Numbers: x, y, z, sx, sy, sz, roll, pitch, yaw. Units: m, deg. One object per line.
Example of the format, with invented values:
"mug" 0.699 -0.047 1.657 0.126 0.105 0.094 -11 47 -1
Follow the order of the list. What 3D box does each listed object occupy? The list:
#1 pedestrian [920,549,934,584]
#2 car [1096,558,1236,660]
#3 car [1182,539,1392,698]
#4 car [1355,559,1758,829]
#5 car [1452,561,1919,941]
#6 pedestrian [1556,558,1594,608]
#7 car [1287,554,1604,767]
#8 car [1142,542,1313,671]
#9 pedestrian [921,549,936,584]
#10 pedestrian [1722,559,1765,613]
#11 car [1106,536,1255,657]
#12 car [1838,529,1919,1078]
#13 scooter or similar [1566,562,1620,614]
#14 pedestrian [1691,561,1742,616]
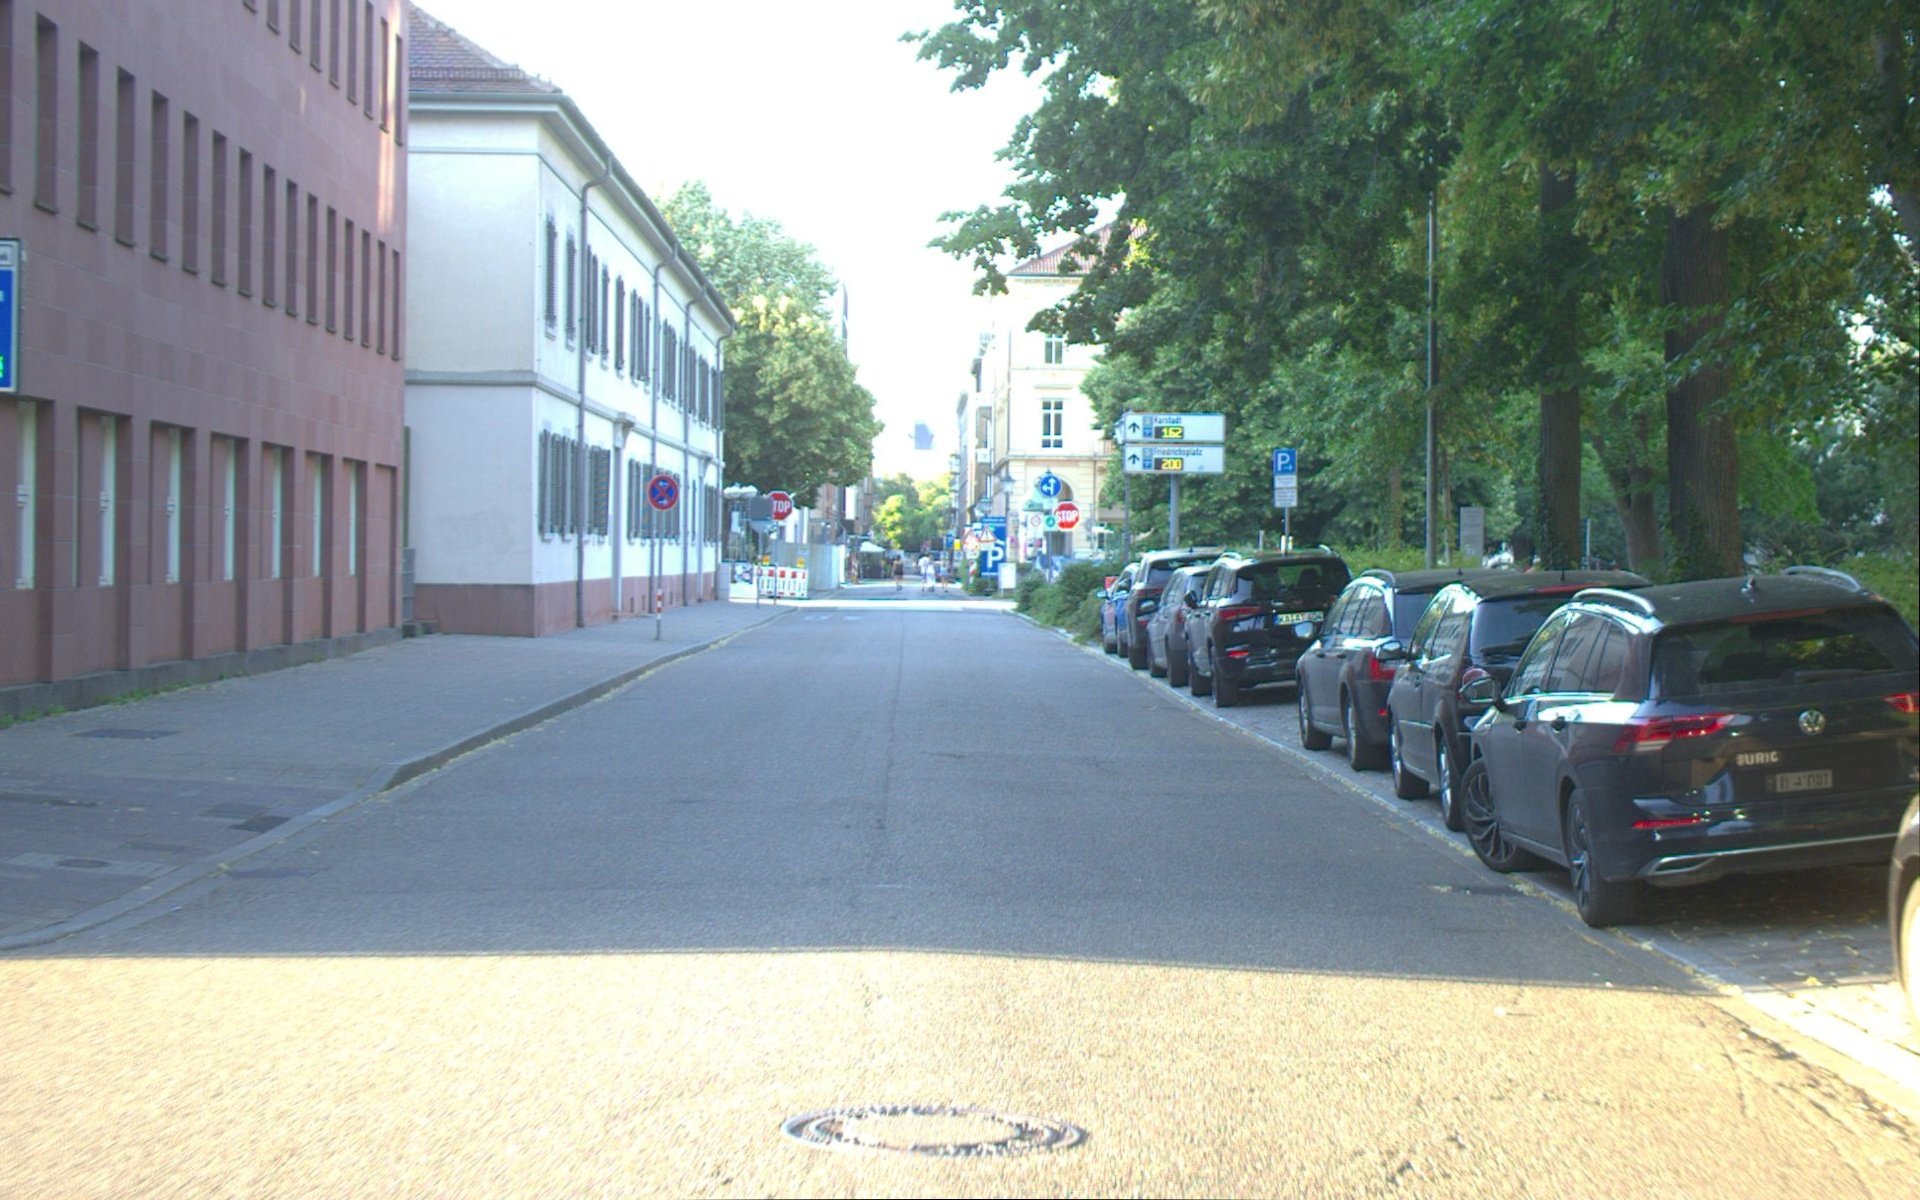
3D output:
"pedestrian" -1.538 -1.561 160.494 0.657 1.630 0.745 0 0 0
"car" 3.258 0.117 55.088 1.724 1.483 4.611 -3 1 -2
"car" 3.545 0.195 37.978 1.807 1.646 4.419 0 0 -1
"car" 3.624 0.534 21.589 1.724 1.528 4.190 0 0 -1
"car" 3.547 0.608 16.132 1.724 1.528 4.623 0 0 -1
"pedestrian" 14.932 -0.416 83.438 0.807 1.187 0.789 0 0 3
"car" 3.656 0.431 26.627 1.734 1.501 4.522 0 0 -1
"car" 3.293 0.079 43.005 1.724 1.533 4.190 0 0 -1
"pedestrian" -1.458 -1.539 158.502 0.657 1.611 0.745 0 0 0
"pedestrian" 19.522 -0.354 85.643 0.758 1.343 0.788 0 0 -17
"car" 3.089 -0.047 48.905 1.724 1.646 4.713 0 0 -1
"car" 3.817 0.622 9.161 1.724 1.677 4.499 0 0 -1
"scooter or similar" 15.206 -0.295 82.550 1.216 1.241 0.418 0 0 -17
"pedestrian" 18.750 -0.288 85.175 0.916 1.343 0.885 0 0 -16
